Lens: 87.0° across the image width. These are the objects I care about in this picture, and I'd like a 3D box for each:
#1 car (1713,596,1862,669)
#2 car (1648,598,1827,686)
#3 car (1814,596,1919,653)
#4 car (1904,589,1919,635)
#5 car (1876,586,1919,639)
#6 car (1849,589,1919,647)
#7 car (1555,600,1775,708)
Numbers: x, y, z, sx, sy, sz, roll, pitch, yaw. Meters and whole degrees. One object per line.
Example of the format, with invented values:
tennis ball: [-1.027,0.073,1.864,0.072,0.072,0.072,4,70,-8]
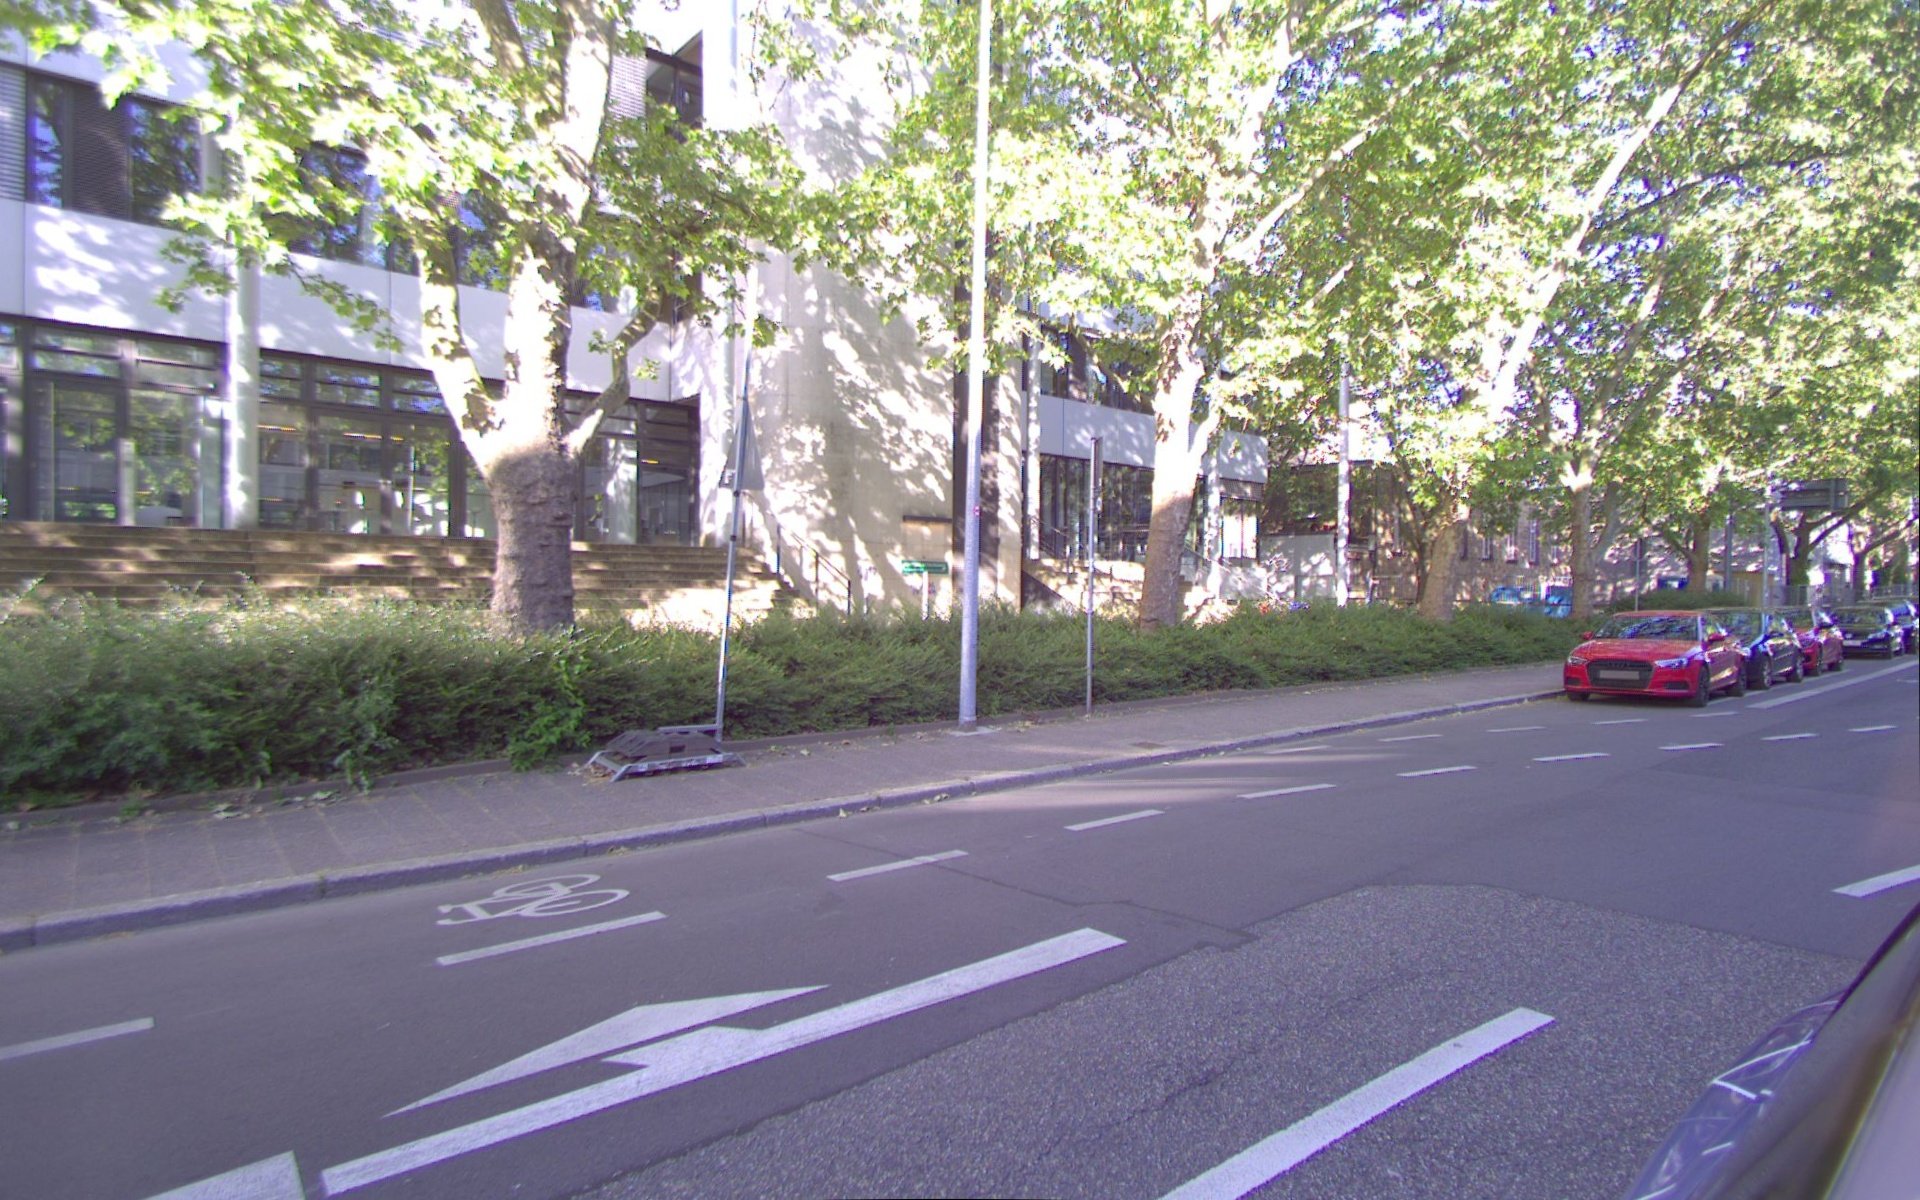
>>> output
car: [18.440,0.641,22.481,4.403,1.469,1.865,0,0,-41]
car: [14.772,0.697,19.144,4.403,1.469,1.865,0,0,-41]
car: [25.796,0.626,28.614,4.403,1.469,1.865,0,0,-41]
car: [38.880,0.448,39.969,4.403,1.781,1.865,0,0,-41]
car: [33.913,0.399,35.700,4.403,1.781,1.865,0,0,-41]
car: [29.575,0.518,31.809,4.403,1.689,1.865,0,0,-41]
car: [11.324,0.743,16.143,4.403,1.469,1.865,0,0,-41]
